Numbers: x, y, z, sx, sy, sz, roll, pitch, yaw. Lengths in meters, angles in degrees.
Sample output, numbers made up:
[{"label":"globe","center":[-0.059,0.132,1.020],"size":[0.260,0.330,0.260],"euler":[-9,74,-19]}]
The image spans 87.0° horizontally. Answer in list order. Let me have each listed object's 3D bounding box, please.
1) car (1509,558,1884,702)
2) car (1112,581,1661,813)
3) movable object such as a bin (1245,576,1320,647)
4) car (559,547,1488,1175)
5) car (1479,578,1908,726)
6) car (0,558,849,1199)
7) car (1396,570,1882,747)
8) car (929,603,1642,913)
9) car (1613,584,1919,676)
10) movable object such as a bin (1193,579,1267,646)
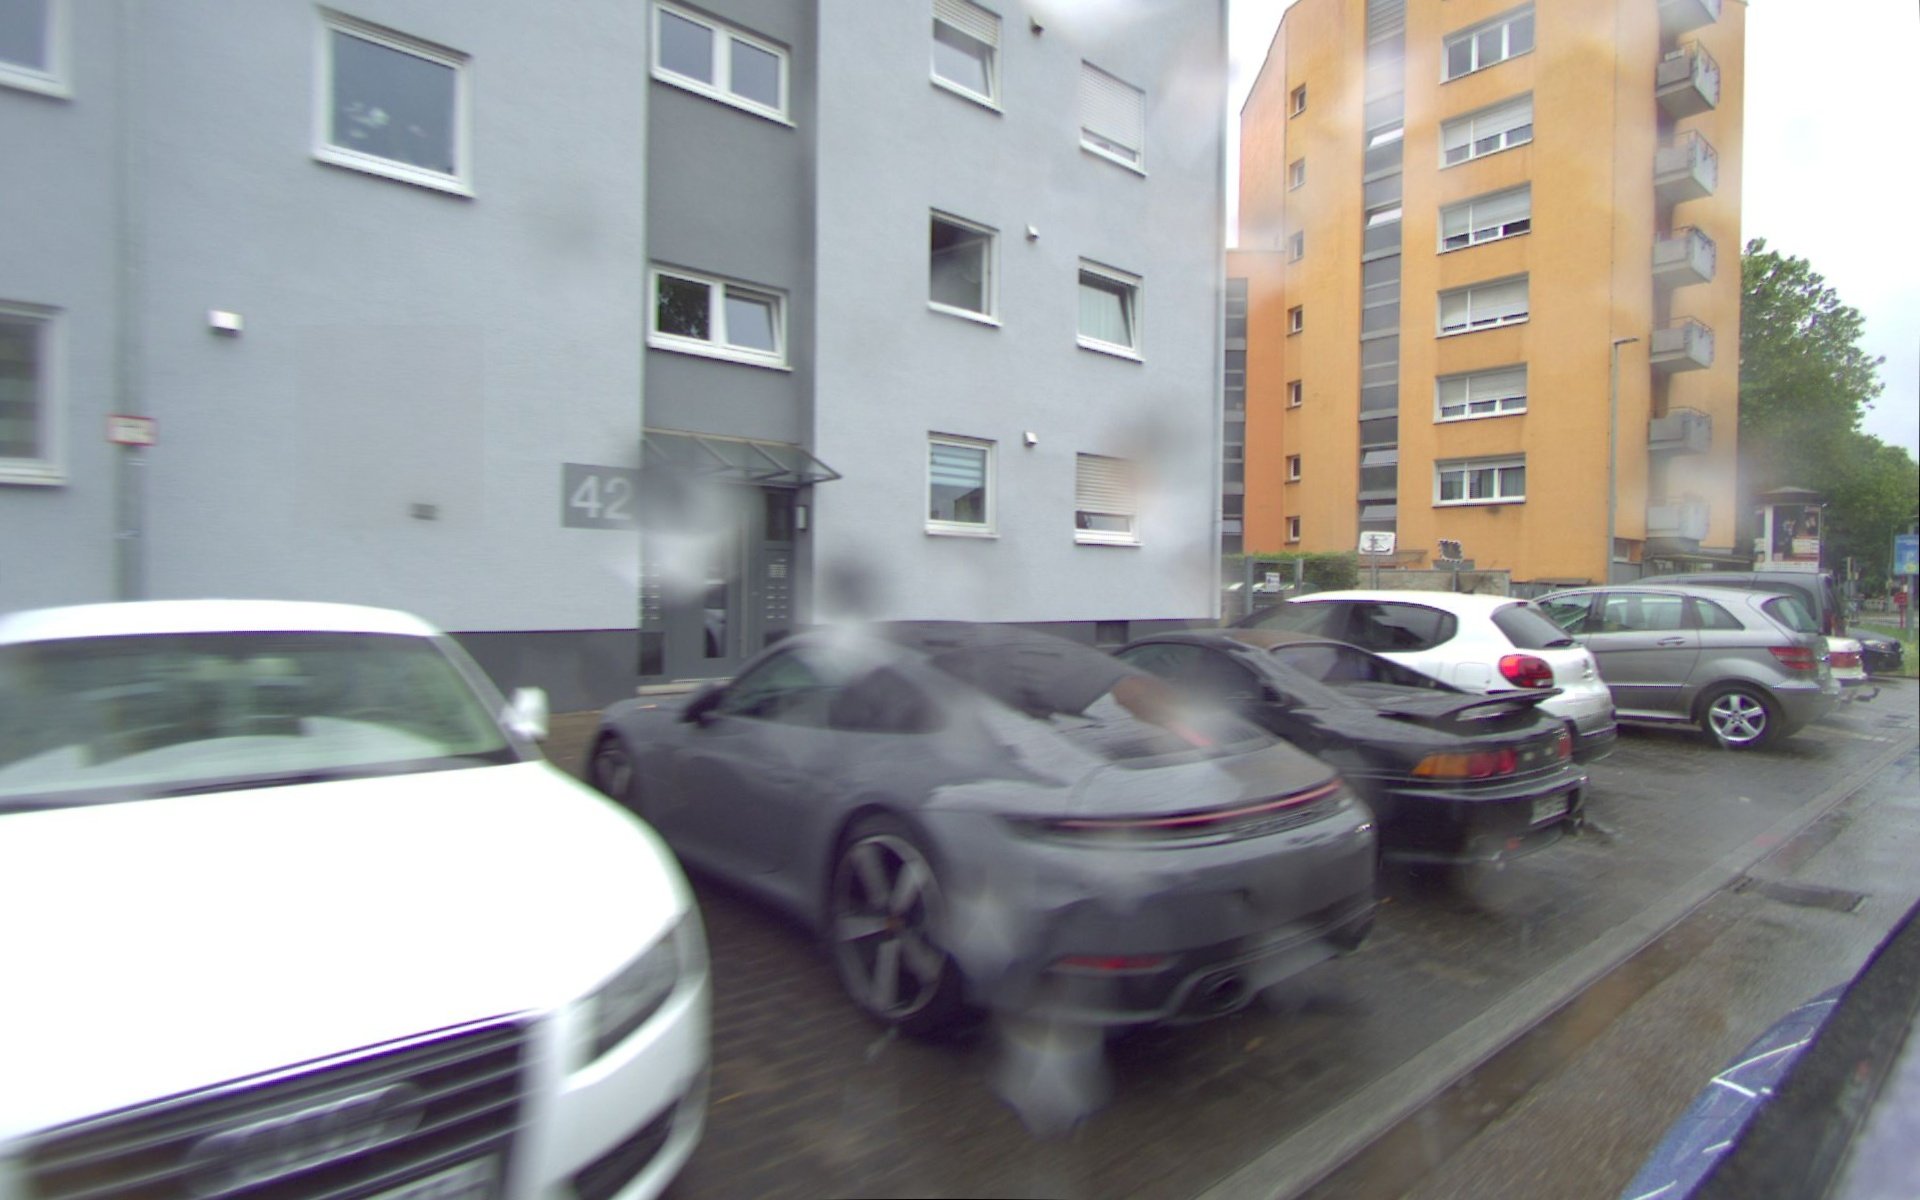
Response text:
[{"label":"car","center":[10.814,0.313,15.099],"size":[1.912,1.827,4.237],"euler":[0,2,-43]},{"label":"car","center":[3.343,0.587,8.471],"size":[1.805,1.472,3.860],"euler":[0,1,-42]},{"label":"movable object such as a bin","center":[6.571,0.226,20.665],"size":[0.806,1.395,1.240],"euler":[1,0,-33]},{"label":"car","center":[-0.143,0.611,4.666],"size":[1.977,1.505,4.151],"euler":[0,0,-40]},{"label":"car","center":[9.254,0.511,13.051],"size":[1.856,1.588,4.196],"euler":[0,1,-41]},{"label":"car","center":[-2.432,0.663,3.397],"size":[1.964,1.454,4.639],"euler":[0,0,-38]},{"label":"car","center":[7.358,0.517,11.316],"size":[1.857,1.591,4.188],"euler":[0,0,-41]},{"label":"car","center":[1.712,0.666,6.338],"size":[1.920,1.223,3.864],"euler":[0,1,-38]},{"label":"car","center":[15.455,0.473,19.423],"size":[1.948,1.488,4.543],"euler":[-1,2,-40]},{"label":"movable object such as a bin","center":[5.785,0.254,21.731],"size":[0.936,1.395,1.220],"euler":[1,0,-33]}]
